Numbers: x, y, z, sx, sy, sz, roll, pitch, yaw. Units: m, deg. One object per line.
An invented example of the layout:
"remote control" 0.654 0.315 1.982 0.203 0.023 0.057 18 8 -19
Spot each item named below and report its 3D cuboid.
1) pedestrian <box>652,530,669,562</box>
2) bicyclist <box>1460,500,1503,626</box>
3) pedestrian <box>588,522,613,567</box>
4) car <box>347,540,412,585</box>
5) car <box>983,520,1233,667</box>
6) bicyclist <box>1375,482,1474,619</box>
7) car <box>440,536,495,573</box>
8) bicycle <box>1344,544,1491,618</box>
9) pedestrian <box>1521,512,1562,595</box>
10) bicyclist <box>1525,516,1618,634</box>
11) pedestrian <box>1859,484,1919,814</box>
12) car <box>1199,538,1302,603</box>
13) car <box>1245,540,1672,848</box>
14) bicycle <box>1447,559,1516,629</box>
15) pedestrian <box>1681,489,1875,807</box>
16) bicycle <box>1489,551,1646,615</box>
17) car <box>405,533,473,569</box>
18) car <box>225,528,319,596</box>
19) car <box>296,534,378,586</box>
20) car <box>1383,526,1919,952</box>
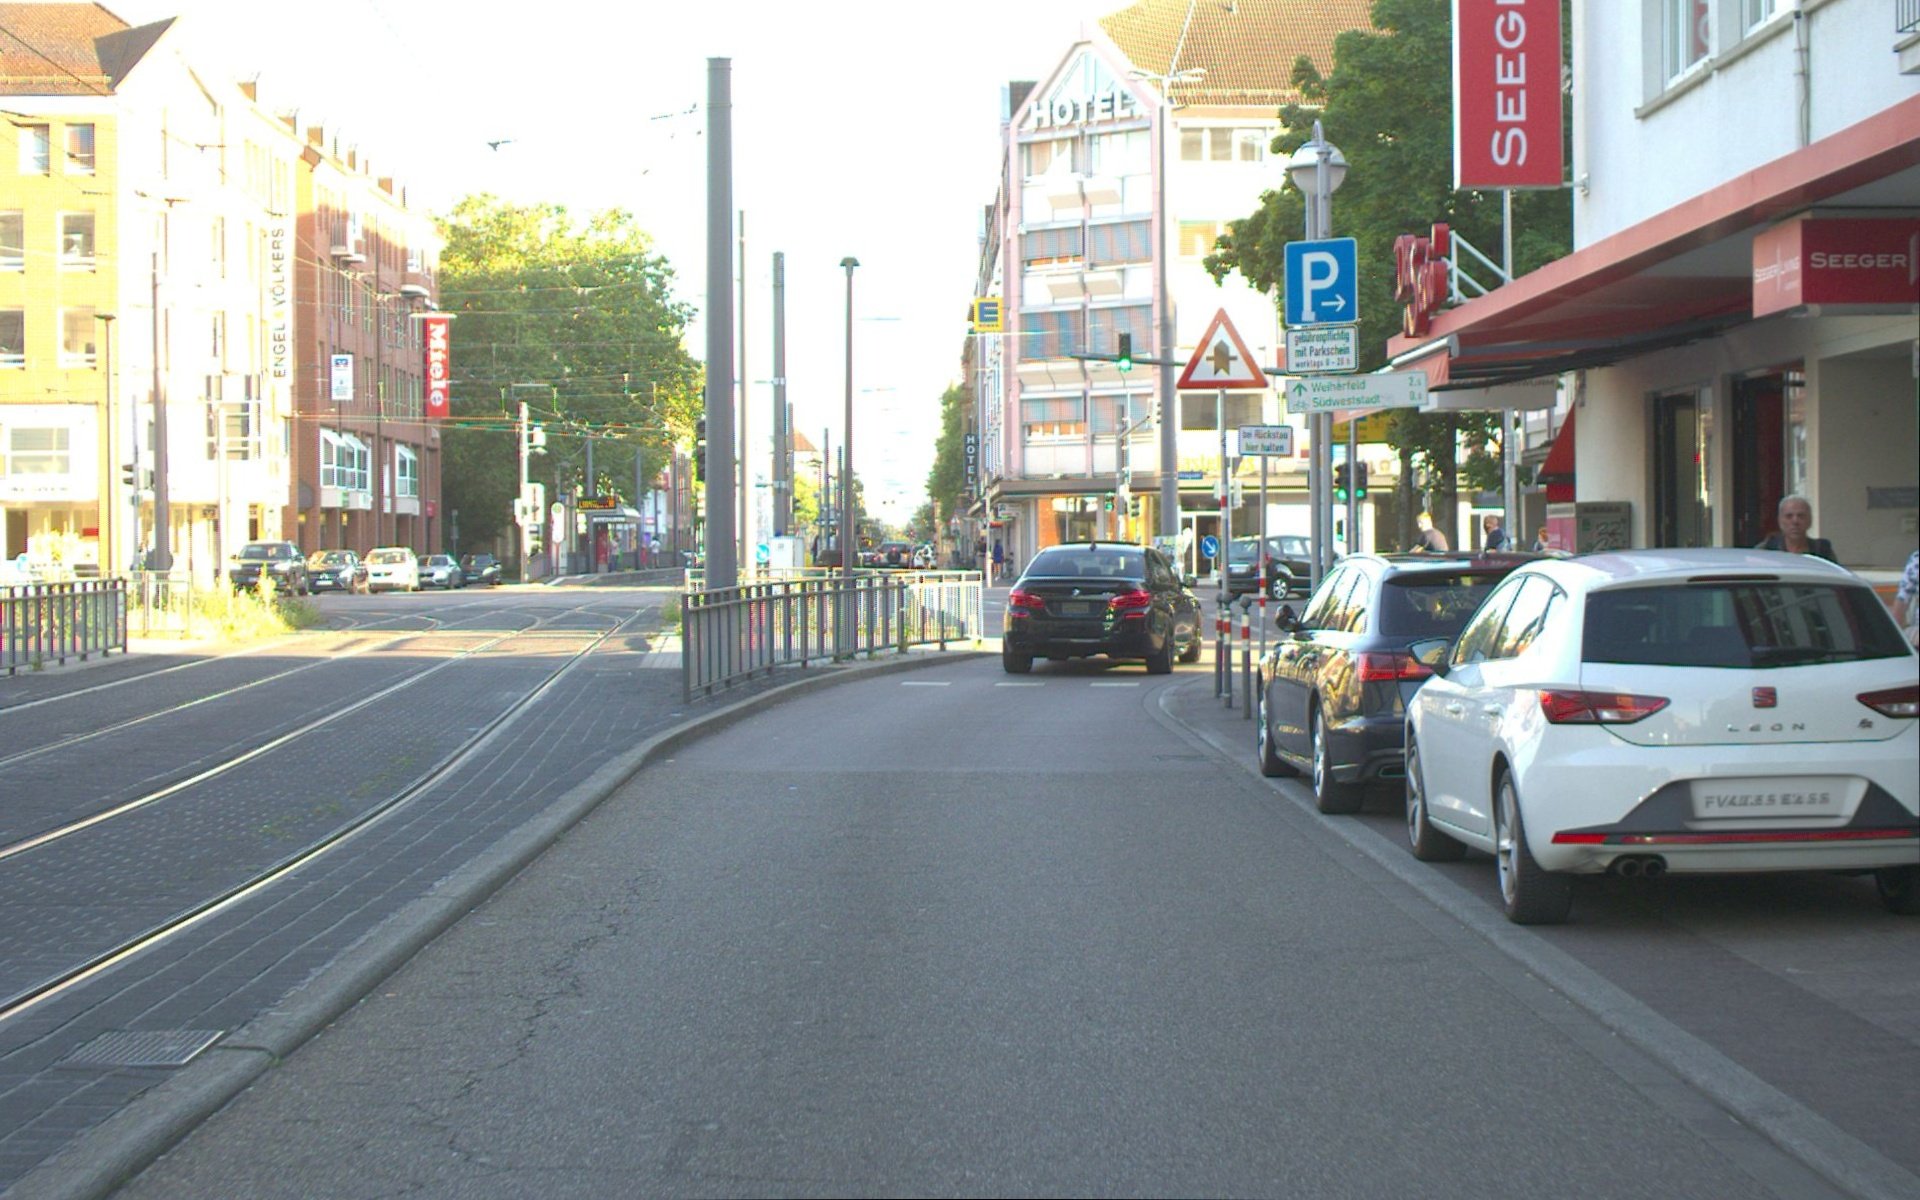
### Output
"pedestrian" -15.589 -2.810 178.907 0.723 1.675 0.991 0 1 2
"bicyclist" 7.554 -0.540 49.830 0.464 1.824 0.559 0 1 -9
"pedestrian" -16.119 -2.475 154.140 0.988 2.007 0.726 1 1 -2
"car" -20.704 -1.355 122.717 1.993 1.579 4.114 -1 1 -6
"car" 1.752 -0.112 39.383 1.995 1.579 3.997 0 1 16
"bicyclist" 6.576 -0.706 48.668 0.838 1.910 1.115 -1 1 -37
"car" -21.781 -2.022 152.053 1.993 1.579 4.480 -1 1 -3
"bicycle" 6.480 -0.286 48.804 0.838 1.016 2.077 -1 1 -38
"pedestrian" 11.611 -0.931 68.658 0.723 1.661 0.671 0 1 3
"bicyclist" 8.493 -0.349 47.711 1.112 1.617 0.839 0 1 23
"pedestrian" 5.342 0.242 18.515 0.728 1.735 0.863 -2 1 0
"car" 7.210 -0.741 85.040 1.995 1.546 3.998 0 1 13
"car" 2.740 0.441 19.911 1.735 1.507 4.686 -2 1 0
"bicycle" 7.555 -0.096 49.862 0.464 0.967 1.801 0 1 -9
"pedestrian" 4.550 0.258 19.170 0.827 1.712 0.843 -2 0 0
"bicycle" 8.430 -0.238 47.742 2.008 0.878 0.839 0 1 23
"car" -21.091 -1.984 139.291 1.669 1.443 4.201 0 1 7
"car" -19.814 -1.121 99.156 1.993 1.895 4.812 -1 1 -3
"car" -19.721 -1.281 108.983 1.993 1.579 4.588 -1 1 -3
"car" 2.967 0.467 14.617 1.785 1.507 4.052 -2 1 0
